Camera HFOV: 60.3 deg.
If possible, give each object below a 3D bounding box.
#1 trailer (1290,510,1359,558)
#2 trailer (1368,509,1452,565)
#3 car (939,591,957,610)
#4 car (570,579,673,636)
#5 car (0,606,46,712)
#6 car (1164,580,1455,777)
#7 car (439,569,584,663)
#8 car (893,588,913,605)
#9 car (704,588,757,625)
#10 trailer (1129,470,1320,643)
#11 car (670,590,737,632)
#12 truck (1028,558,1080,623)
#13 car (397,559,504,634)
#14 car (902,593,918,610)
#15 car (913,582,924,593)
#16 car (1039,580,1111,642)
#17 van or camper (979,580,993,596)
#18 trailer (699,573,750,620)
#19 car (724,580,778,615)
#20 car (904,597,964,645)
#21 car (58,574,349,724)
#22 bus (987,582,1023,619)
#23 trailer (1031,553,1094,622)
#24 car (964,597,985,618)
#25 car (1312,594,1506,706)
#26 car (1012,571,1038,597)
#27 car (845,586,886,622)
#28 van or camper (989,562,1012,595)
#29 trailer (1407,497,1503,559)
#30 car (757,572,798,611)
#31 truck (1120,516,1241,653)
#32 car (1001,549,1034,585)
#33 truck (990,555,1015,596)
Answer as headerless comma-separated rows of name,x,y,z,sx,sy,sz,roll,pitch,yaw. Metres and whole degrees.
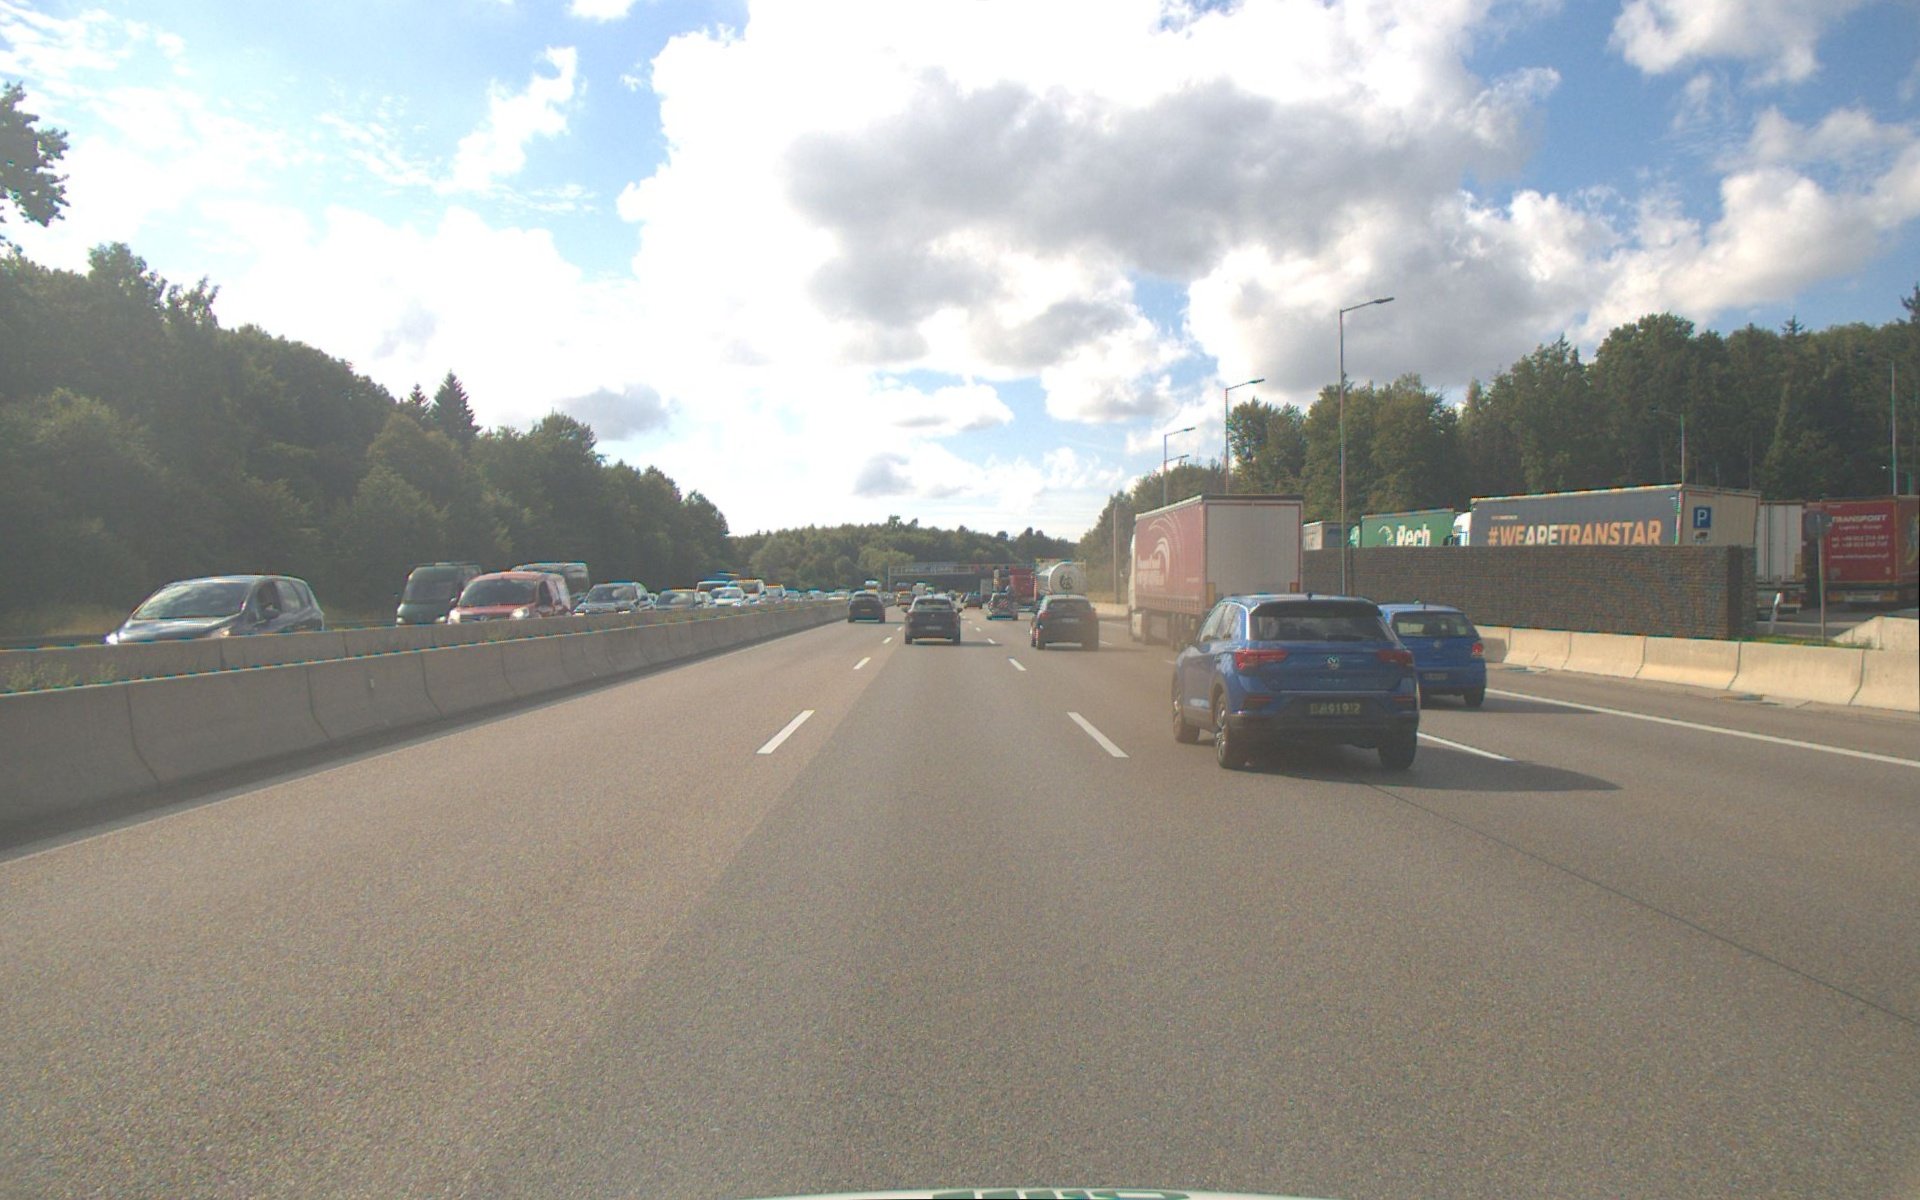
trailer,19.361,-3.486,88.197,2.009,2.049,6.962,1,-2,-1
trailer,19.888,-2.742,73.312,1.953,2.049,5.772,1,-2,-2
car,-1.402,0.035,192.127,1.953,2.049,3.999,-1,-2,-1
car,-10.074,0.209,49.626,1.952,1.600,5.207,1,0,0
car,-17.270,0.998,27.198,1.952,1.793,4.459,1,0,0
car,3.239,0.637,16.291,1.884,1.568,4.646,1,1,0
car,-9.242,0.300,34.544,1.838,1.793,5.291,1,0,-3
car,-6.423,-0.363,186.565,2.111,1.807,3.999,1,-1,0
car,-10.313,0.272,74.552,1.729,1.600,4.357,1,0,0
trailer,7.121,-0.878,46.954,2.976,4.106,13.885,1,-2,-1
car,-10.306,0.412,66.701,1.952,1.600,4.357,1,0,0
truck,6.328,-0.577,112.231,2.983,4.233,7.125,0,-1,-1
car,-17.476,-0.129,57.013,1.952,2.415,5.329,1,0,0
car,-6.523,0.195,214.111,1.954,2.049,3.997,1,0,-3
car,-6.385,-1.897,254.279,1.590,1.496,3.814,2,-1,0
car,3.263,0.341,47.526,1.762,1.673,3.999,1,-1,0
van or camper,4.118,-1.864,258.453,2.041,2.536,4.224,0,0,-1
trailer,-14.790,-0.187,104.505,2.233,2.834,8.538,1,0,-2
car,-10.447,-0.129,83.114,1.953,1.600,5.329,2,0,0
car,-0.835,0.658,51.519,1.699,1.389,3.998,-2,0,-3
car,-9.995,0.627,22.294,1.820,1.793,4.458,1,-1,0
bus,2.641,0.073,98.095,1.953,2.049,3.999,1,-2,0
trailer,6.461,-0.689,106.135,2.974,4.086,12.241,0,-1,-1
car,1.449,0.756,167.950,1.953,2.049,3.999,1,-1,-1
car,6.670,0.724,25.054,1.680,1.538,4.300,-1,-1,-1
car,5.544,-1.354,141.971,1.953,2.049,3.999,1,-2,-1
car,-4.898,0.191,86.202,1.953,1.807,4.000,-1,0,0
van or camper,4.314,-2.282,176.582,2.303,3.199,5.710,1,-2,0
trailer,20.085,-2.883,67.384,1.953,2.049,6.190,1,-2,-1
car,-10.314,-0.455,93.659,1.953,2.049,4.674,1,-2,-2
truck,7.059,-0.393,53.703,3.017,4.135,6.067,1,-2,-1
car,5.234,-2.998,151.614,2.807,3.044,5.148,1,-2,0
truck,4.280,-2.438,169.308,2.309,3.635,11.265,1,-2,0
